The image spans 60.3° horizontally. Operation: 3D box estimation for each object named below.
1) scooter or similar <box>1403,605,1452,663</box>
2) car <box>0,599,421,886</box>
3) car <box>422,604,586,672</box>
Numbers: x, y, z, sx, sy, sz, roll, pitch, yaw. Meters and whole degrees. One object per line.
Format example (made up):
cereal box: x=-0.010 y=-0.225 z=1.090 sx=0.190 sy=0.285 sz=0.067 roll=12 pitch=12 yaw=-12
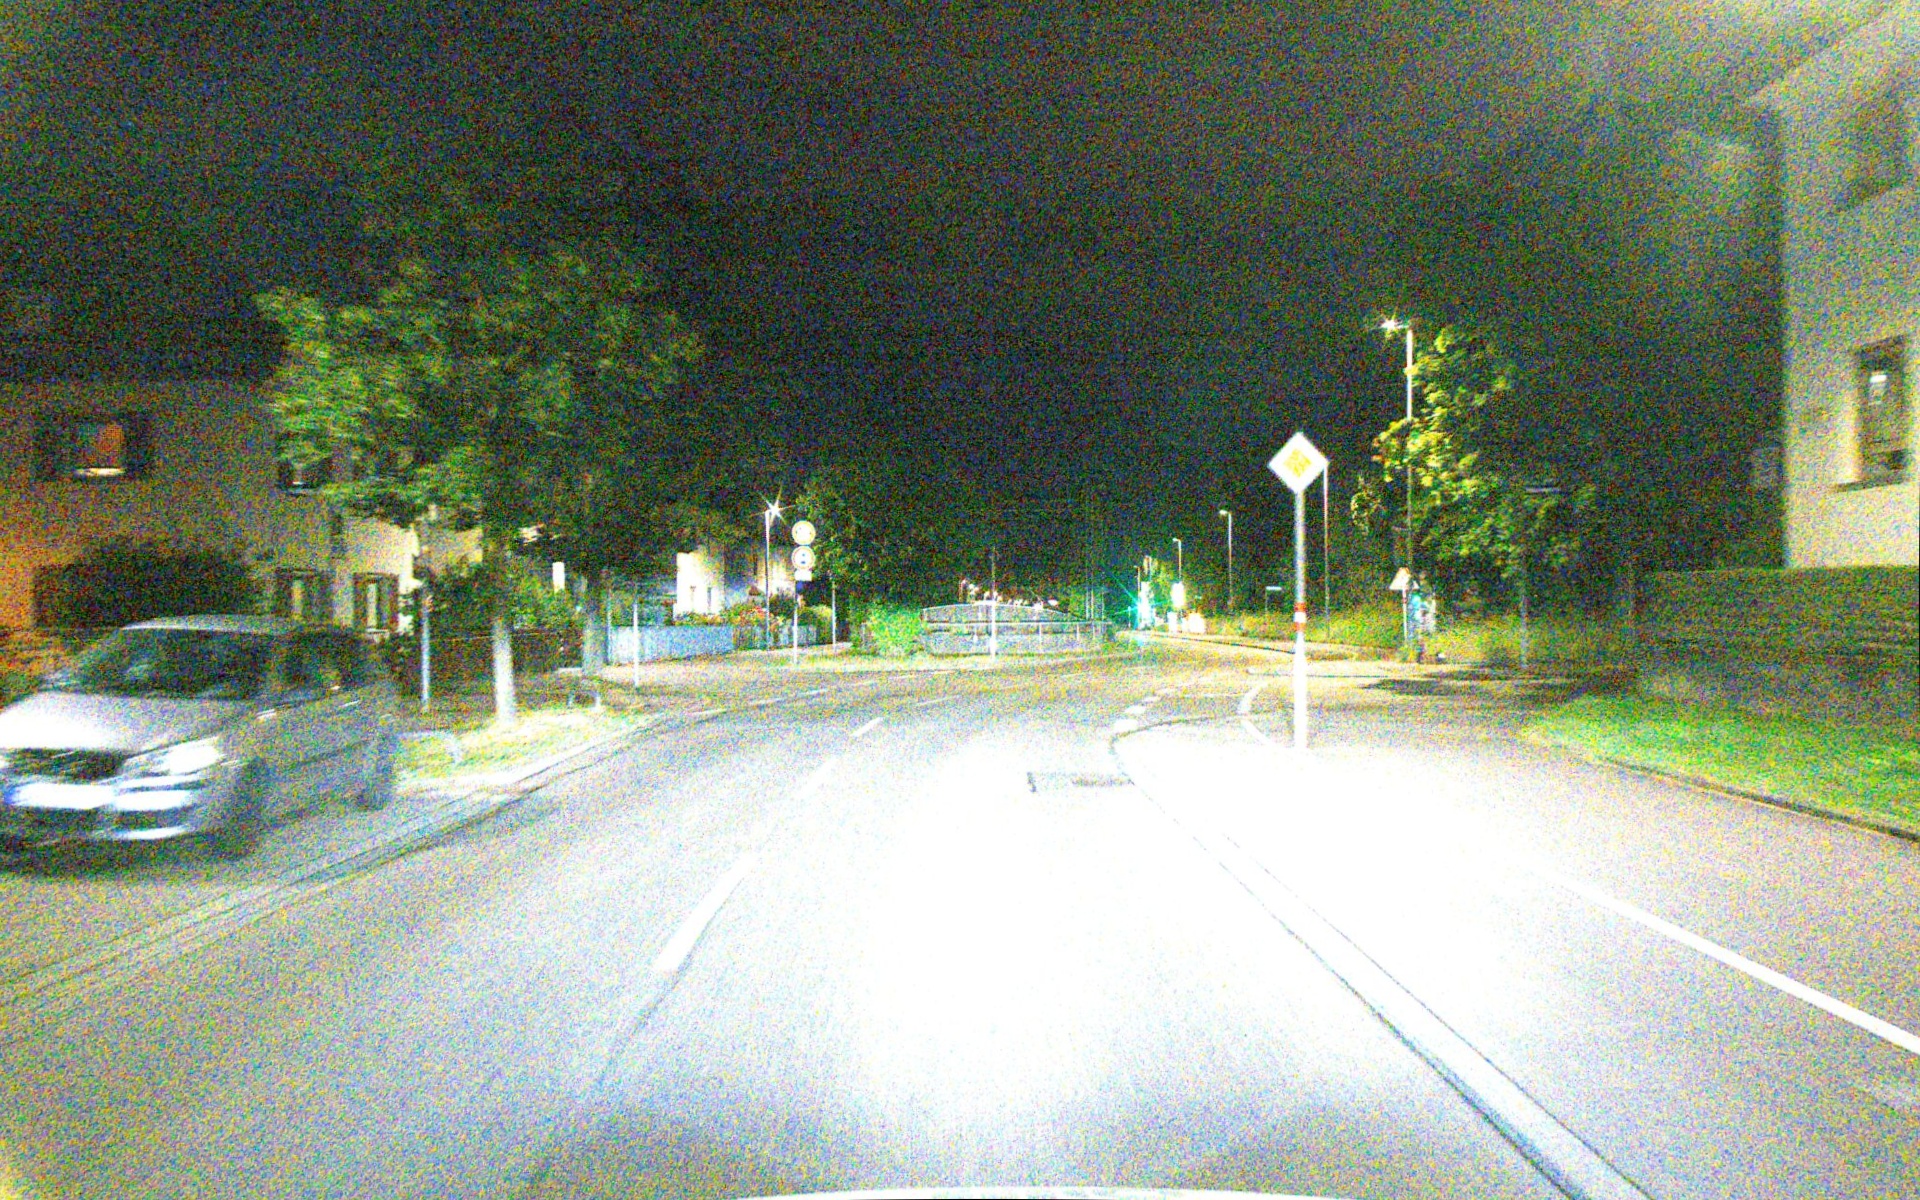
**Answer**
scooter or similar: x=10.747 y=0.770 z=38.059 sx=0.599 sy=1.303 sz=1.689 roll=0 pitch=0 yaw=-2
car: x=-5.154 y=0.814 z=11.430 sx=1.638 sy=1.618 sz=3.986 roll=0 pitch=0 yaw=-2
car: x=-11.622 y=0.955 z=42.182 sx=3.635 sy=1.655 sz=1.784 roll=-1 pitch=-1 yaw=18
